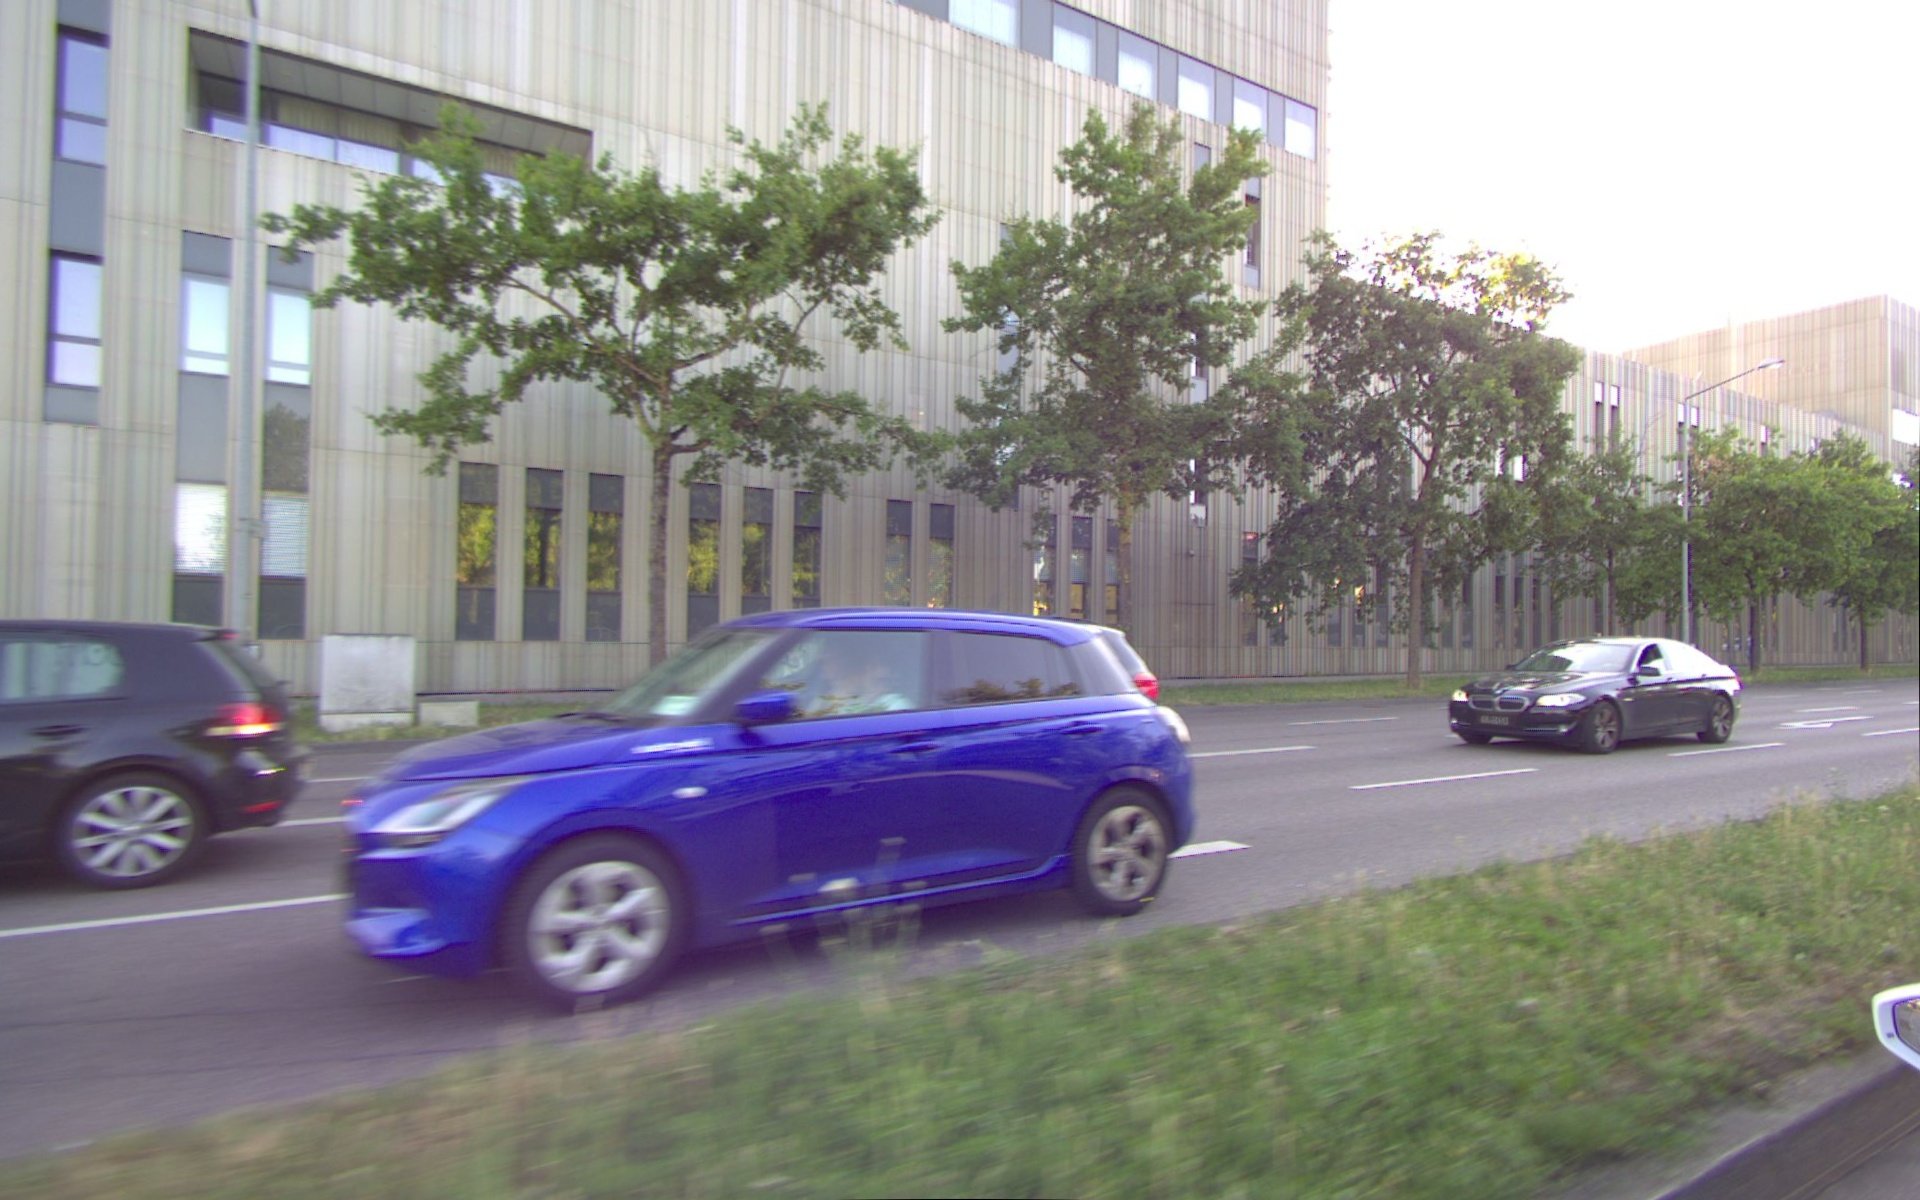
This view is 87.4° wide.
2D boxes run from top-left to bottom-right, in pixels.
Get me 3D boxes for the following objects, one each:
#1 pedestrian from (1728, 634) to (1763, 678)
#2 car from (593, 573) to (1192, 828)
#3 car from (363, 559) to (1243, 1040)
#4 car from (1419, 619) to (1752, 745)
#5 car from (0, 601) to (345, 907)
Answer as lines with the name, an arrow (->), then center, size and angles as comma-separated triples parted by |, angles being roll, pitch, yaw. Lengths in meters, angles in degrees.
pedestrian -> 38.502, 2.744, 49.250 | 0.950, 2.040, 1.014 | 3, 0, -30
car -> -0.451, 0.809, 8.473 | 4.663, 1.612, 1.984 | 3, -6, -32
car -> -0.624, 0.754, 4.841 | 3.815, 1.470, 1.694 | 3, -6, -32
car -> 8.723, 1.151, 13.917 | 4.745, 1.470, 1.984 | 3, -6, -32
car -> -5.869, 0.769, 5.650 | 4.035, 1.495, 1.983 | 3, 0, -32
